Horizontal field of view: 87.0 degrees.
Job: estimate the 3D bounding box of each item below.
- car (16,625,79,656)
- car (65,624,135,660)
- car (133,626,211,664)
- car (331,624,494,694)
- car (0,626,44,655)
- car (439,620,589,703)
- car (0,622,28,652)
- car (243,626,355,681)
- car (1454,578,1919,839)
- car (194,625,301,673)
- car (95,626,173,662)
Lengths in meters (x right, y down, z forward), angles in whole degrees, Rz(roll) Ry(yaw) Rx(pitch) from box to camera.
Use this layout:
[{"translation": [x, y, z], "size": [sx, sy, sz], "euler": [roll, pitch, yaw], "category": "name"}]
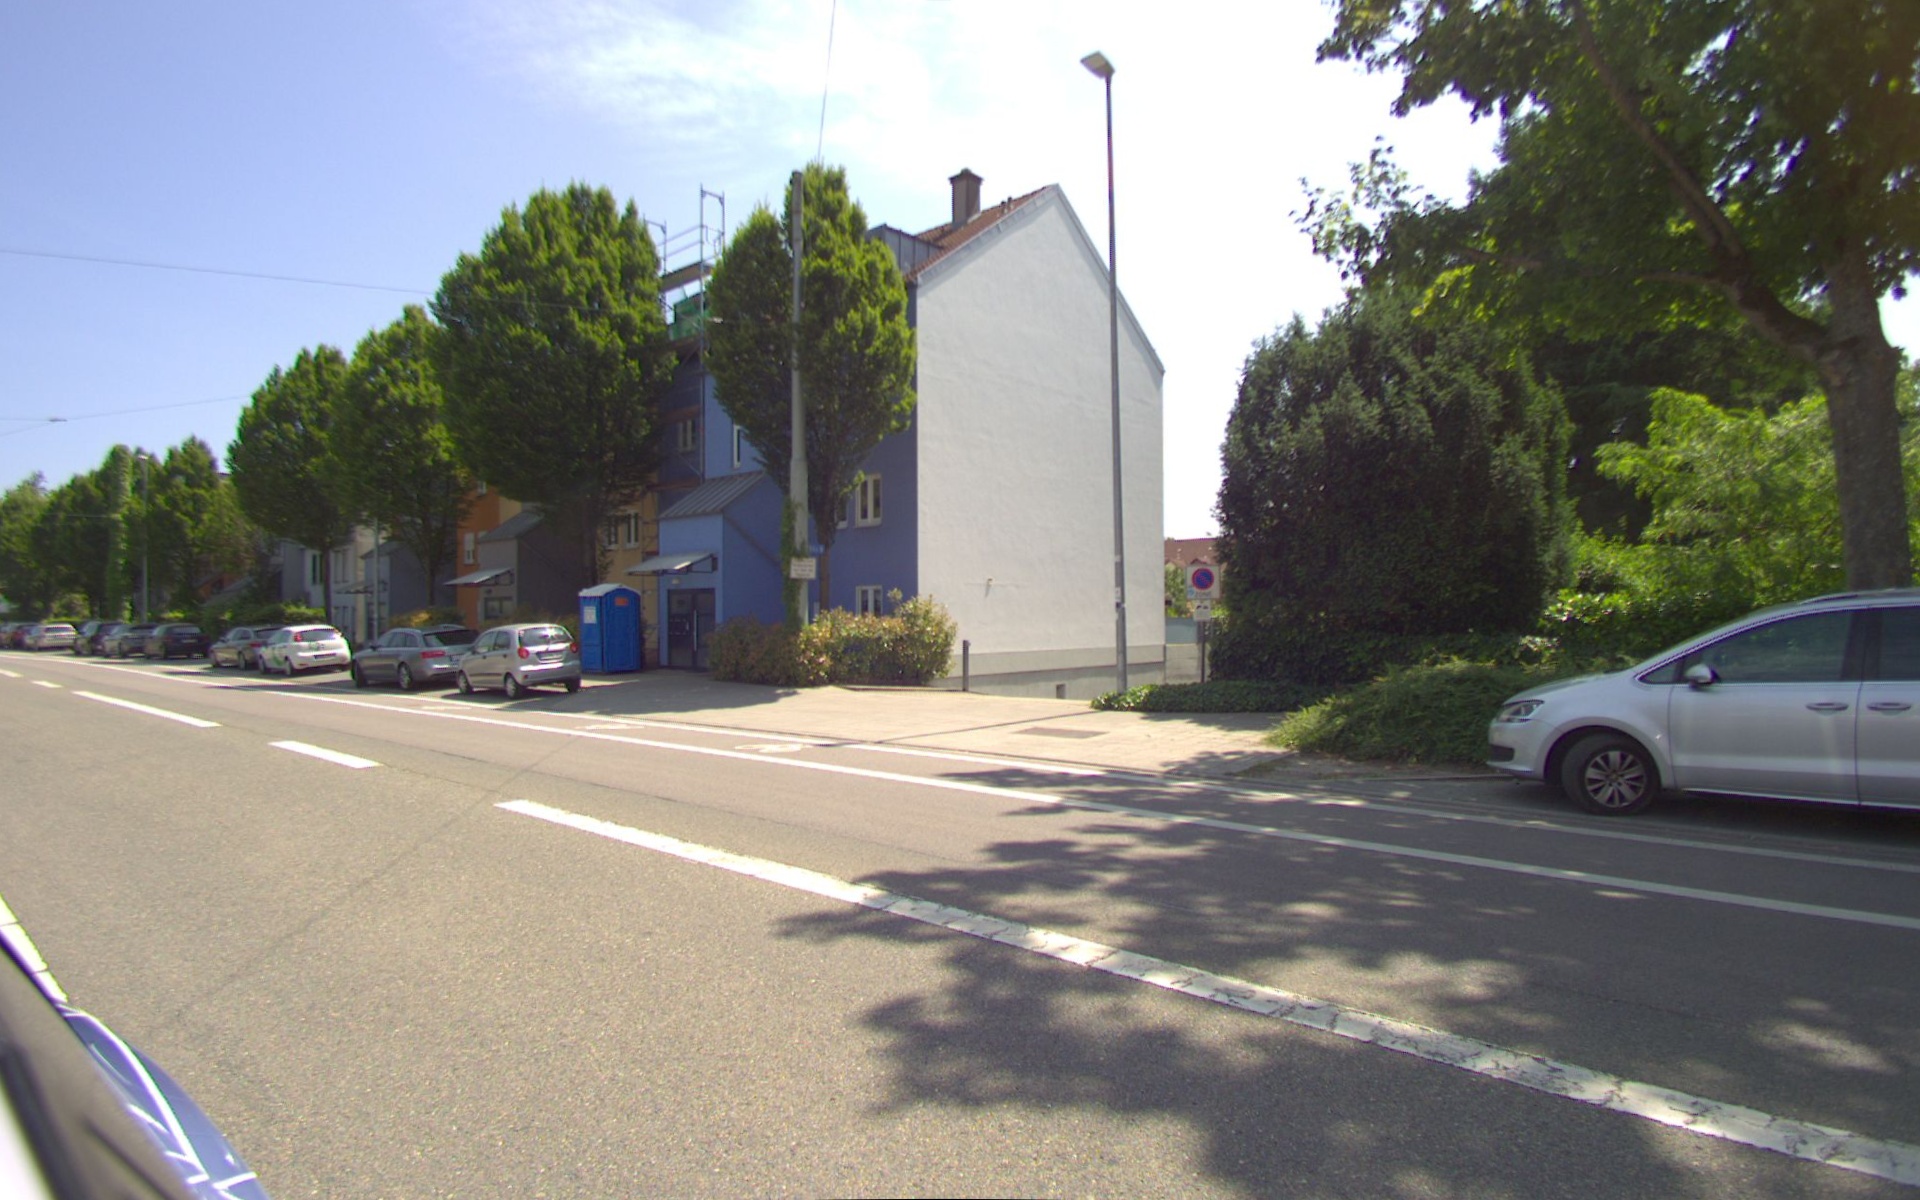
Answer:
[{"translation": [-51.150, 2.249, 56.712], "size": [4.490, 1.594, 1.823], "euler": [-2, 0, 38], "category": "car"}, {"translation": [-42.258, 2.059, 49.712], "size": [4.142, 1.601, 1.750], "euler": [-2, 0, 38], "category": "car"}, {"translation": [-33.456, 1.874, 42.931], "size": [4.254, 1.443, 1.732], "euler": [-1, 1, 40], "category": "car"}, {"translation": [-13.795, 1.445, 25.367], "size": [5.129, 1.461, 1.769], "euler": [-2, 2, 40], "category": "car"}, {"translation": [-56.006, 2.384, 60.081], "size": [3.673, 1.606, 1.586], "euler": [-2, 0, 35], "category": "car"}, {"translation": [-9.714, 1.278, 21.956], "size": [3.447, 1.506, 1.577], "euler": [-2, 3, 41], "category": "car"}, {"translation": [-60.166, 2.308, 63.226], "size": [4.548, 1.807, 1.976], "euler": [-1, -1, 35], "category": "car"}, {"translation": [-21.013, 1.646, 32.094], "size": [4.417, 1.453, 1.729], "euler": [-2, 3, 41], "category": "car"}, {"translation": [6.483, 0.704, 7.453], "size": [4.778, 1.677, 1.853], "euler": [-2, -1, 41], "category": "car"}, {"translation": [-25.082, 1.706, 35.577], "size": [4.744, 1.440, 1.688], "euler": [-2, 3, 38], "category": "car"}, {"translation": [-37.678, 1.978, 46.121], "size": [4.752, 1.507, 1.807], "euler": [-2, 0, 39], "category": "car"}]
